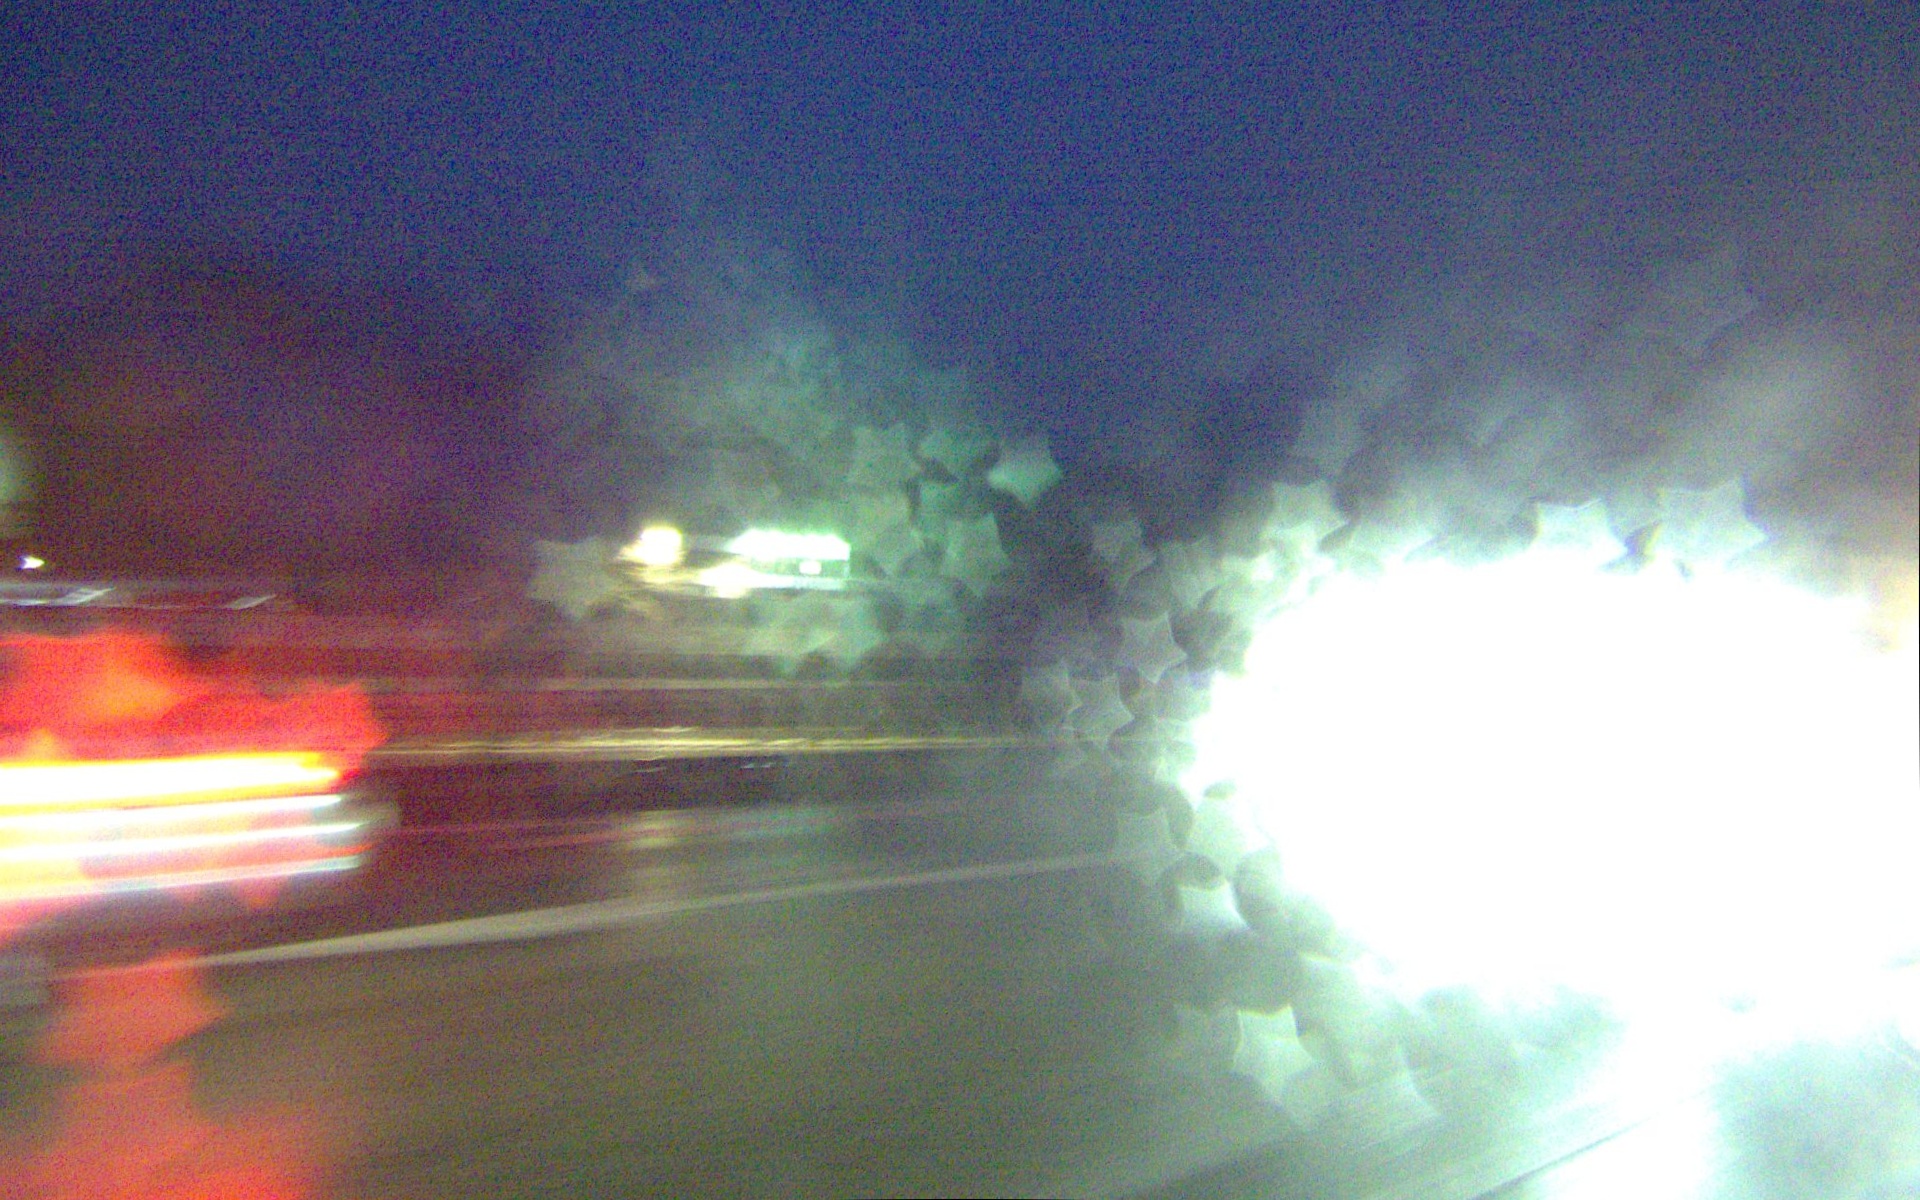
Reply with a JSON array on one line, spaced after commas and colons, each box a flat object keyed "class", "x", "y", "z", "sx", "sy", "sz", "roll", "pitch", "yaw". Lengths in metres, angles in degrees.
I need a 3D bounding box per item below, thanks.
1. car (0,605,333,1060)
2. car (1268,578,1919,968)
[{"class": "car", "x": -4.901, "y": 0.702, "z": 3.203, "sx": 4.708, "sy": 1.401, "sz": 1.798, "roll": 1, "pitch": 0, "yaw": -26}, {"class": "car", "x": 4.031, "y": 0.766, "z": 6.067, "sx": 4.036, "sy": 1.637, "sz": 1.914, "roll": 1, "pitch": 0, "yaw": -30}]
